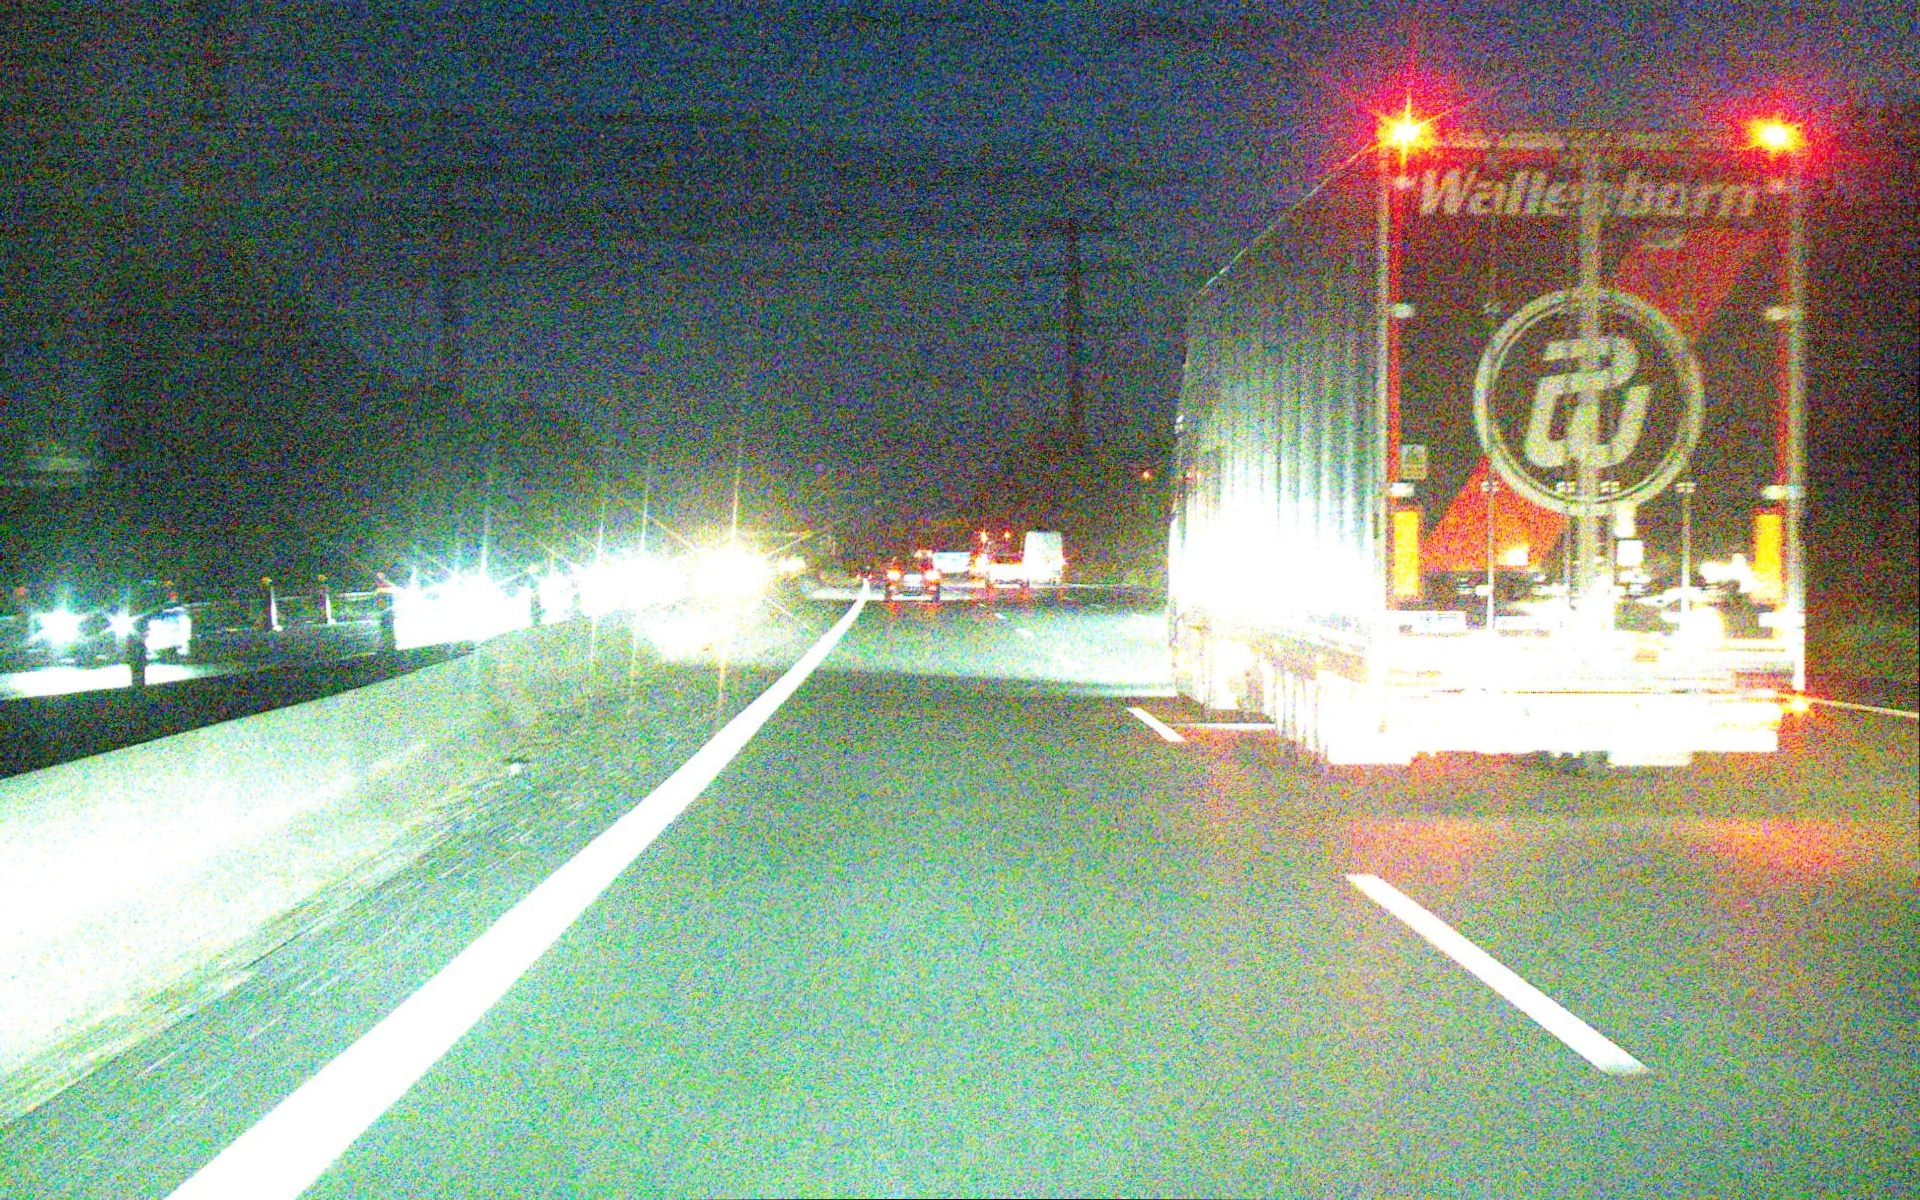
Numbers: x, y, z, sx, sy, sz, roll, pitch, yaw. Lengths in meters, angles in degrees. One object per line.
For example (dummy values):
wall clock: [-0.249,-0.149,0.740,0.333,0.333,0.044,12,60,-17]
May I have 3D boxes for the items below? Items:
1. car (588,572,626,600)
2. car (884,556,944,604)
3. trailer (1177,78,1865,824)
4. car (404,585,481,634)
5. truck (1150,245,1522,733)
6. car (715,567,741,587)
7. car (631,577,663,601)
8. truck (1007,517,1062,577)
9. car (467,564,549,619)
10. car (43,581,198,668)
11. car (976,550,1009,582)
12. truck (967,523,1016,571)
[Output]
car: [-18.324,-0.743,178.732,1.661,1.329,4.810,-2,1,-3]
car: [-1.487,-0.653,110.661,1.821,1.461,4.248,1,1,-2]
trailer: [3.628,-0.928,26.368,2.742,4.192,13.511,1,1,-1]
car: [-16.732,0.285,111.364,1.750,1.473,4.482,-2,1,0]
truck: [3.465,-1.008,33.346,2.661,4.192,6.723,1,1,-1]
car: [-17.288,-1.726,256.208,1.750,1.473,4.583,2,1,-3]
car: [-19.316,-0.706,212.208,1.631,1.389,4.878,-2,1,-2]
truck: [3.724,-2.623,172.586,2.076,2.682,7.308,1,-2,-4]
car: [-13.053,-0.267,99.566,1.750,1.473,4.763,-2,1,-1]
car: [-15.650,0.429,64.312,1.750,1.473,4.943,-2,1,-1]
car: [1.450,-1.527,154.982,1.346,1.382,3.502,1,1,-2]
truck: [2.242,-3.838,249.031,3.044,3.313,10.142,1,1,-2]
